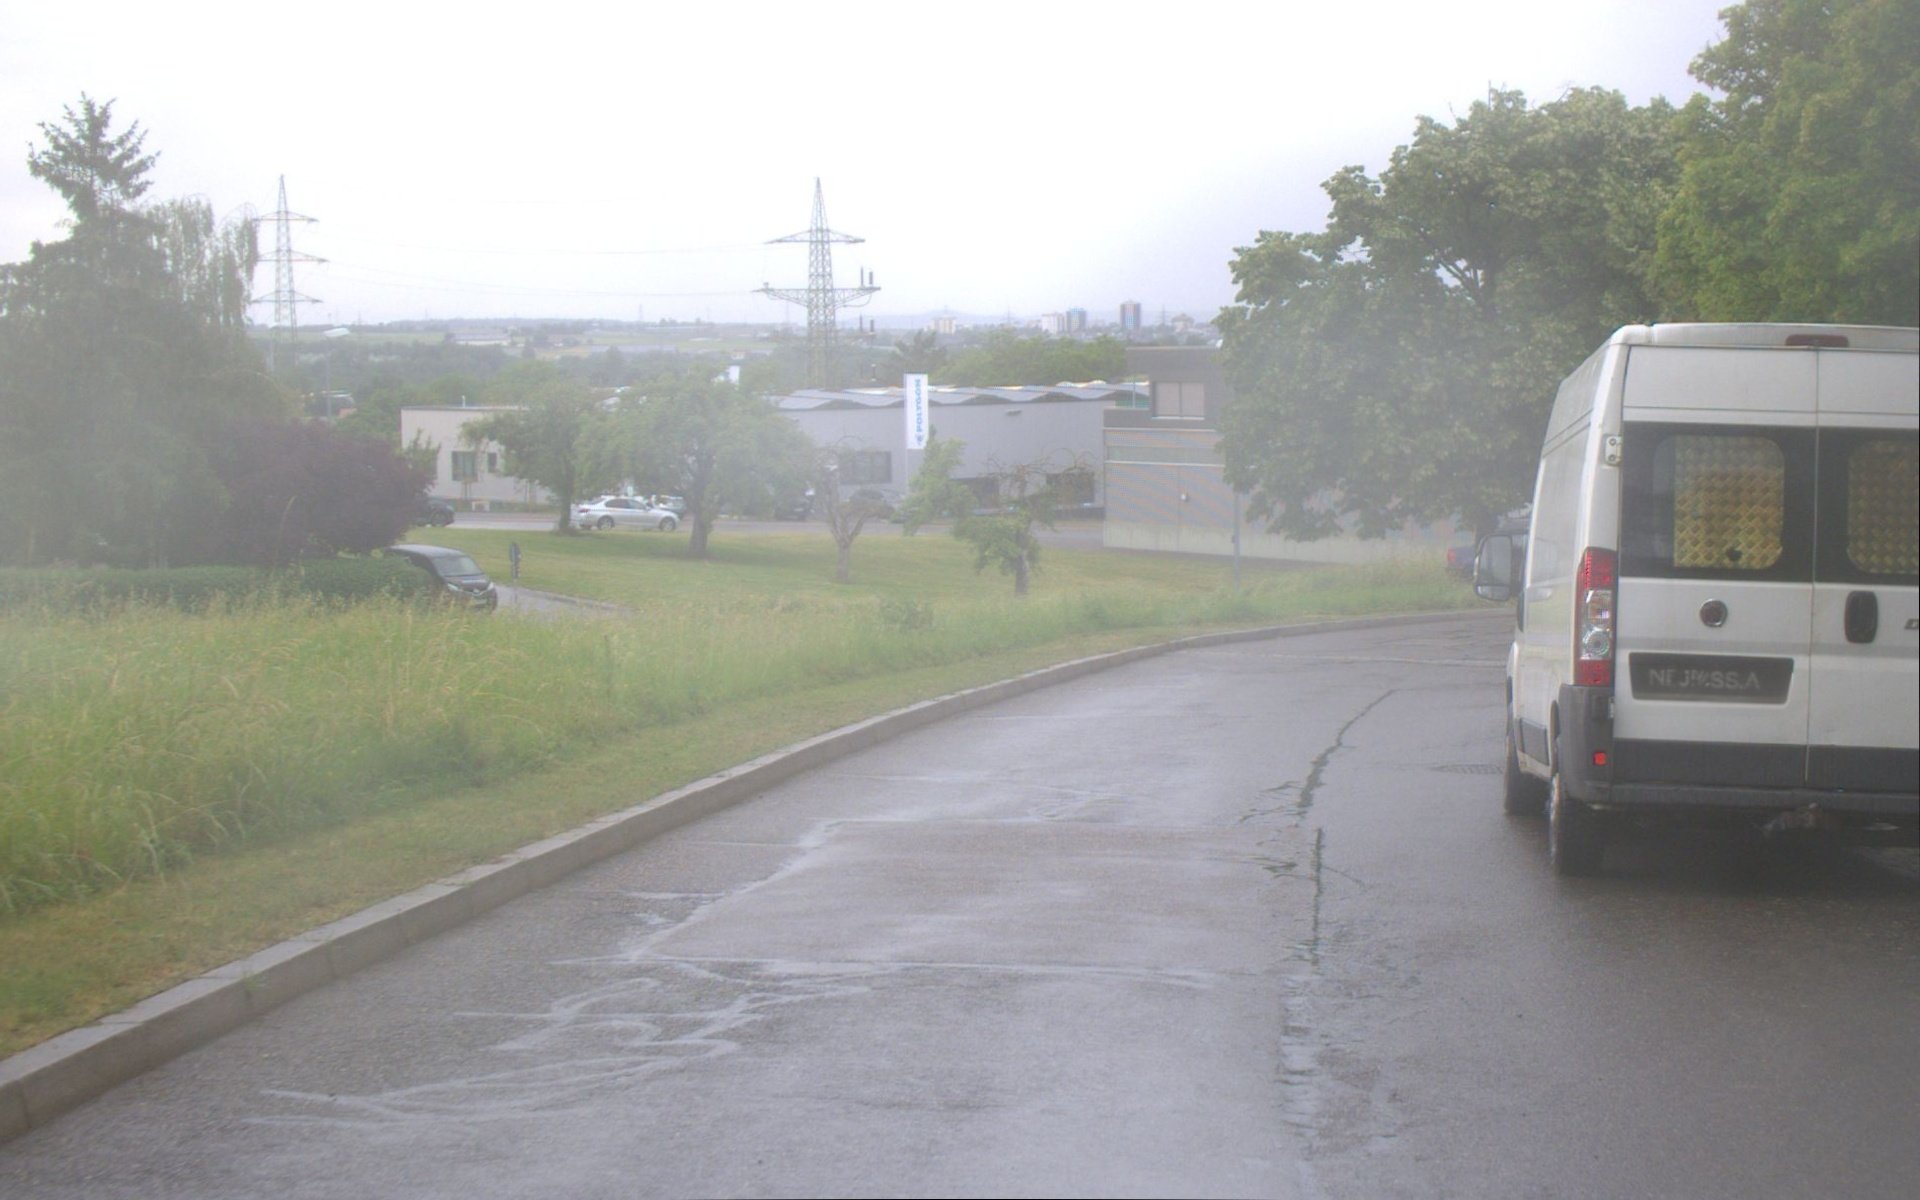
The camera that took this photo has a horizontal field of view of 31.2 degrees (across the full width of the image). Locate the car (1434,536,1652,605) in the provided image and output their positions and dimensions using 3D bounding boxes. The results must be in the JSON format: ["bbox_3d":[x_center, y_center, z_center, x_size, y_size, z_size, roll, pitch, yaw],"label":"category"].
[{"bbox_3d":[12.199,-0.613,71.942,4.170,1.350,1.860,-1,1,22],"label":"car"}]

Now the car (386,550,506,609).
[{"bbox_3d":[-15.010,-0.616,100.289,1.776,1.591,3.999,-2,3,-37],"label":"car"}]

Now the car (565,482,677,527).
[{"bbox_3d":[-14.279,-4.027,144.991,4.262,1.696,1.798,1,4,-31],"label":"car"}]

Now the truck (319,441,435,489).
[{"bbox_3d":[-30.159,-6.977,177.896,5.311,2.301,2.436,0,4,-31],"label":"truck"}]

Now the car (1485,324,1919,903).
[{"bbox_3d":[3.915,0.004,17.425,2.118,2.459,5.509,1,1,5],"label":"car"}]
